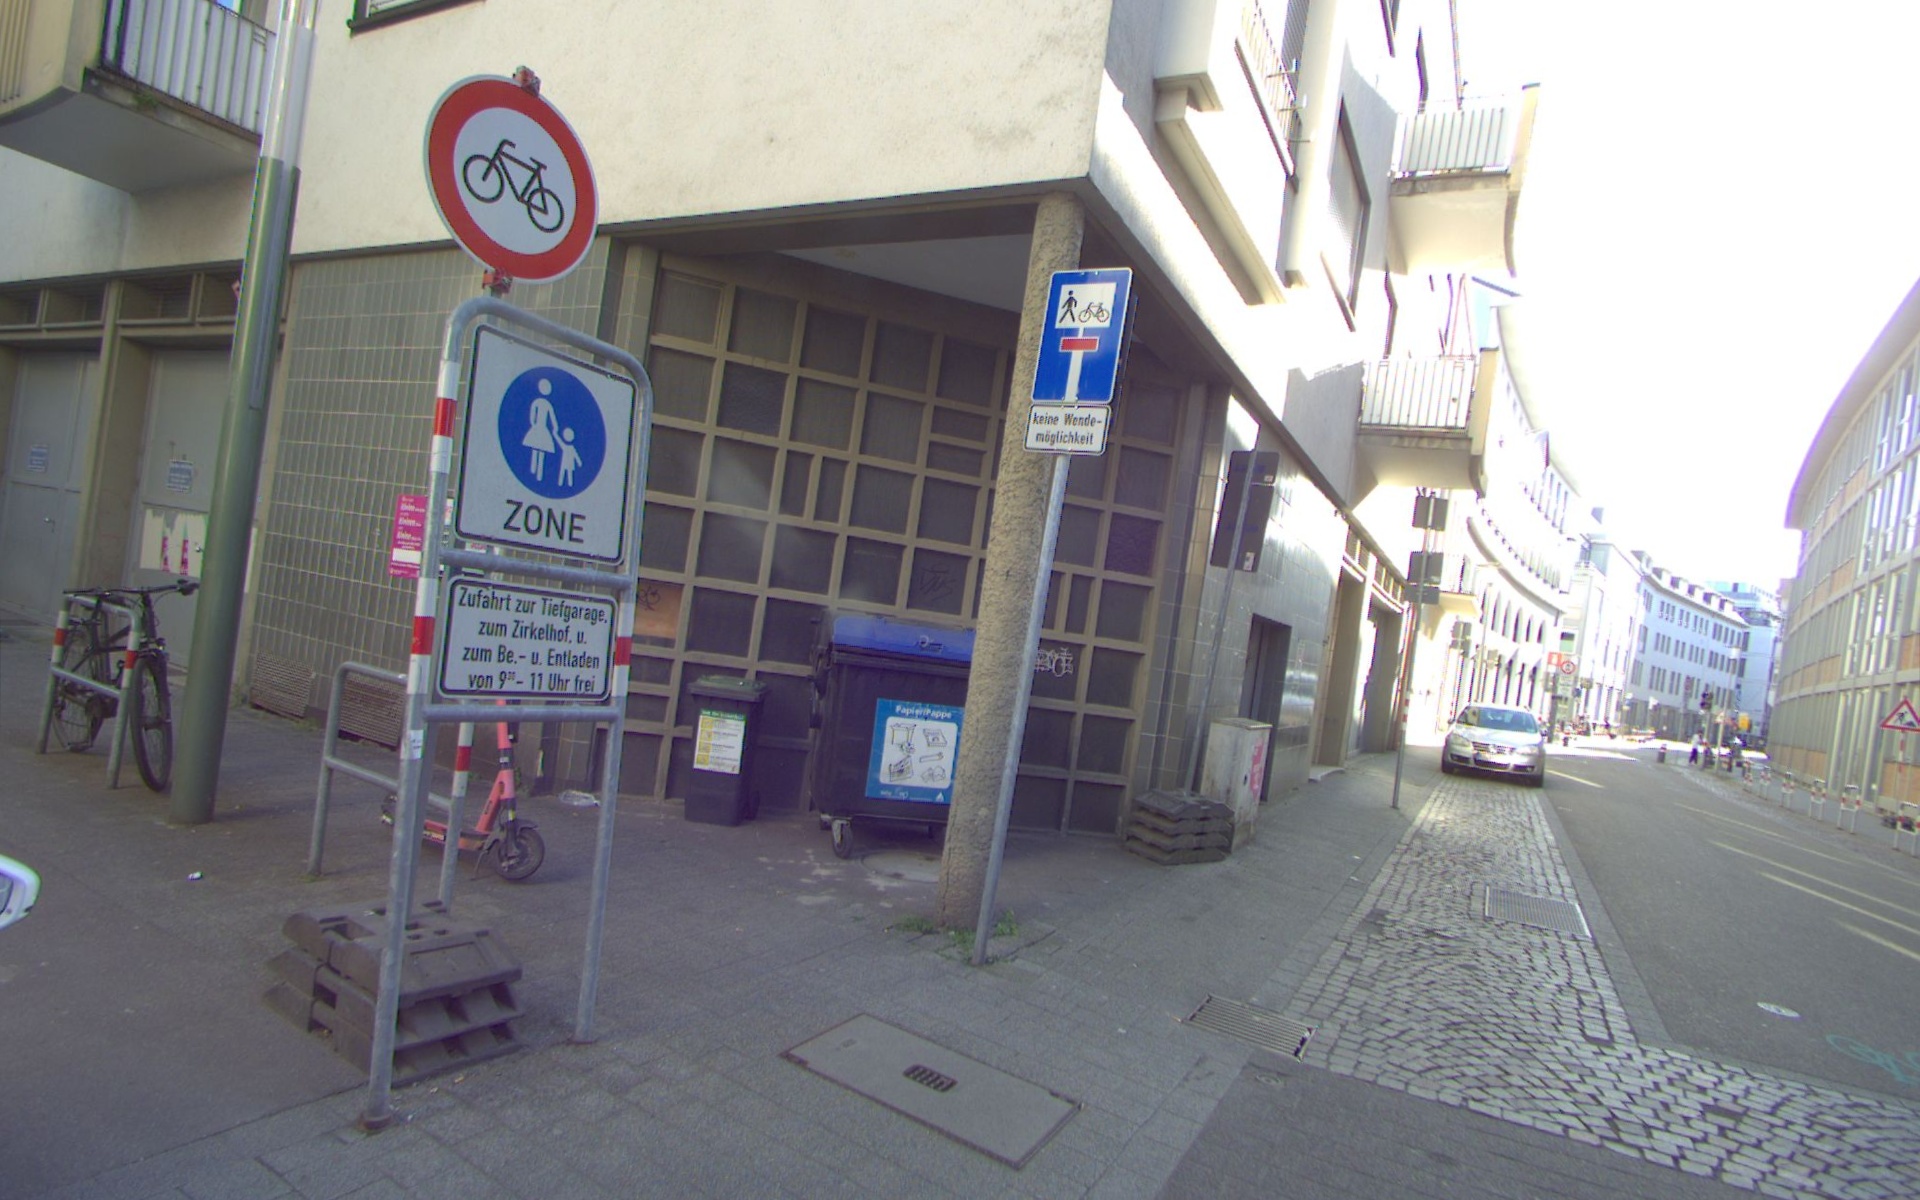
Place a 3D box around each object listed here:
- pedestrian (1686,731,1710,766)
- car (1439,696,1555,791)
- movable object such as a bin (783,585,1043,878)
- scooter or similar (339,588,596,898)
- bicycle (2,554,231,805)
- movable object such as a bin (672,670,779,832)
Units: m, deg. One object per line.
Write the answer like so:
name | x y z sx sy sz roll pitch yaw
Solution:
pedestrian | 33.107 6.667 45.141 0.648 1.458 0.595 8 0 31
car | 10.751 2.771 20.121 1.741 1.487 3.809 6 -2 29
movable object such as a bin | -0.356 0.808 6.570 1.272 1.609 1.151 8 1 -16
scooter or similar | -2.418 0.647 4.903 1.217 1.267 0.308 7 0 26
bicycle | -4.745 0.391 5.621 1.683 1.153 0.447 6 -2 35
movable object such as a bin | -1.536 0.974 6.564 0.533 0.935 0.511 7 0 -18
